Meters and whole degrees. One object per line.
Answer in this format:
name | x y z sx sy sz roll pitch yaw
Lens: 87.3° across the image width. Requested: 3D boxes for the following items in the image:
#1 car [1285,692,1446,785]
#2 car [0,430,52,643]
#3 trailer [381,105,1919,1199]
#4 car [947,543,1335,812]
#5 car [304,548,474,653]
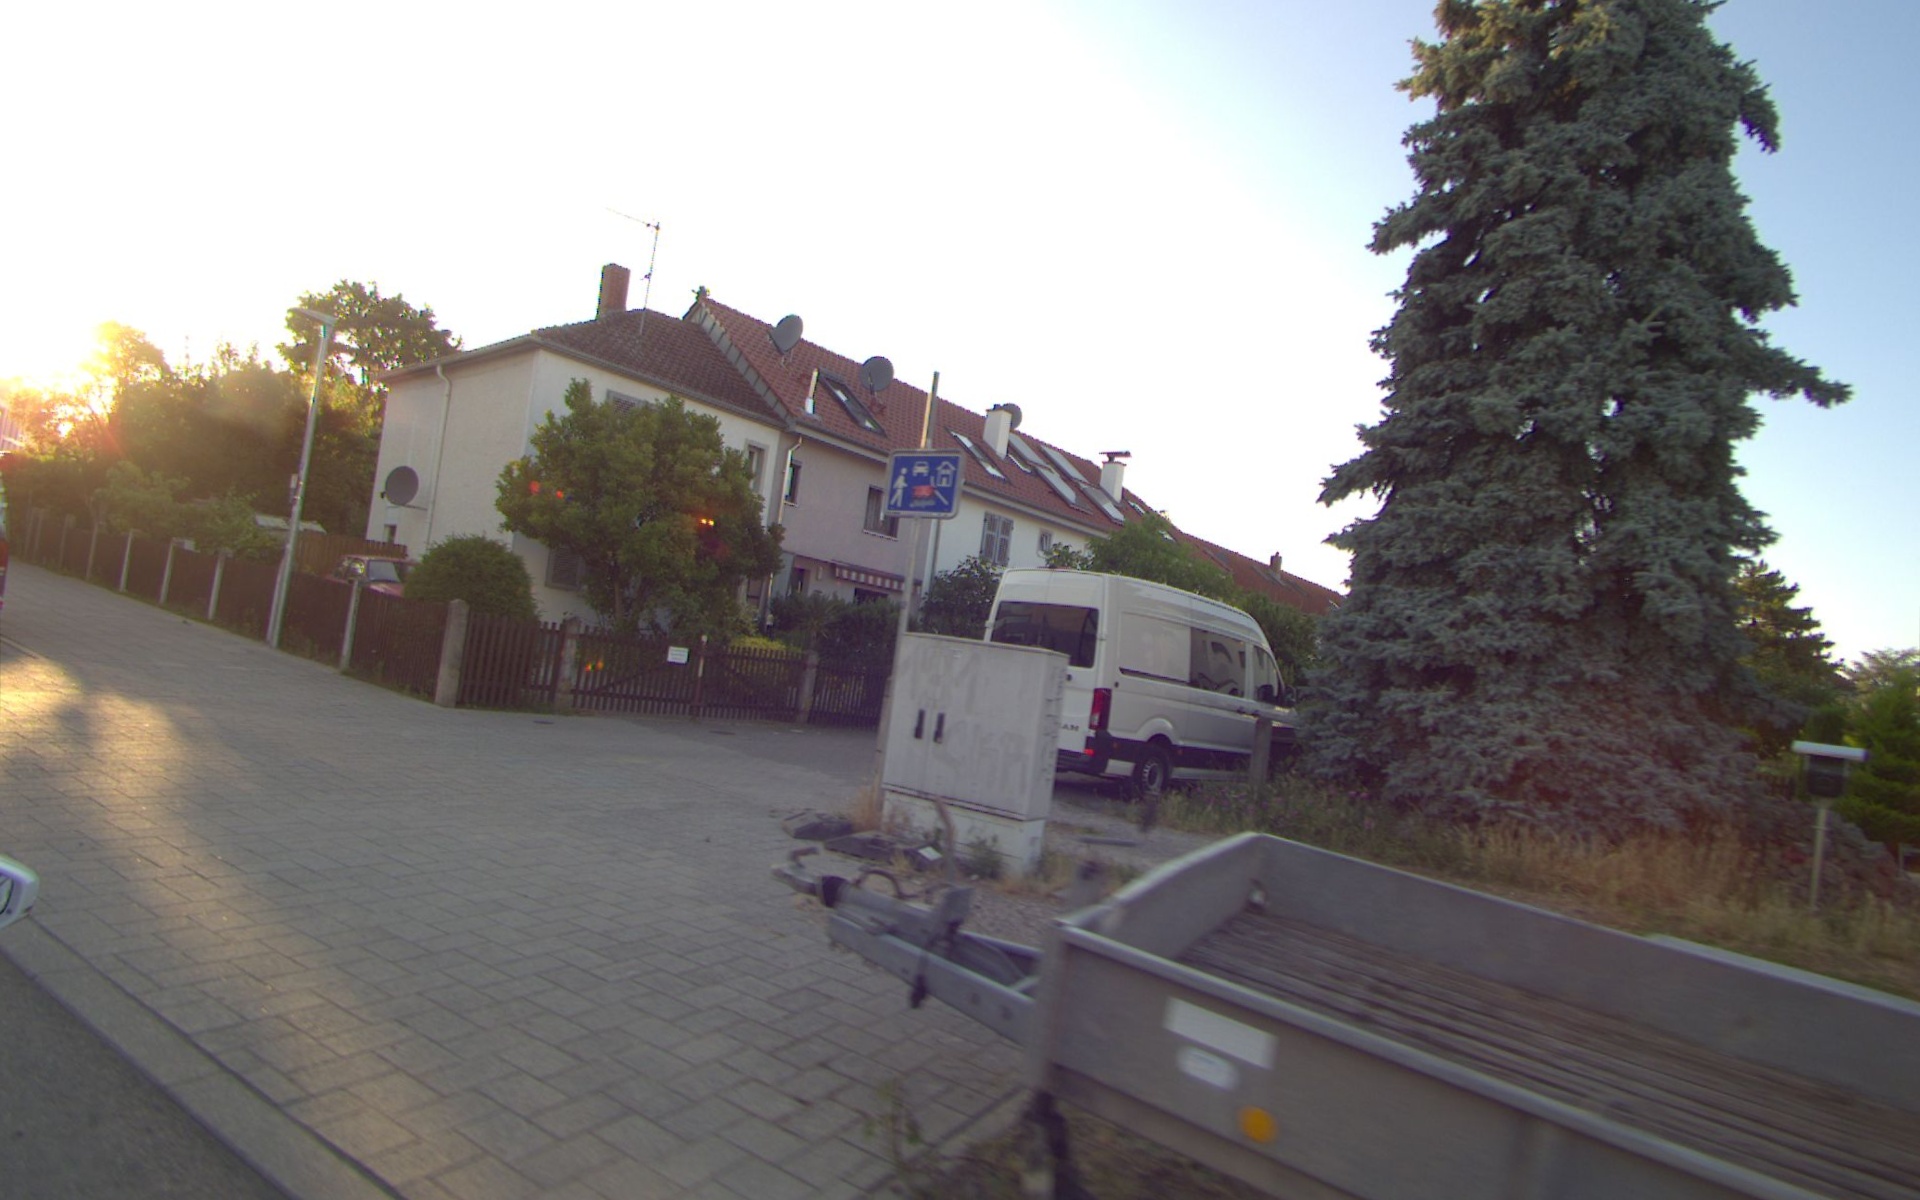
car | 8.247 2.825 20.253 1.718 1.492 4.123 4 -6 41
car | -12.011 -0.947 11.058 4.800 2.119 2.066 7 -2 38
trailer | 1.196 0.518 2.455 5.135 2.237 2.069 7 -2 31
car | 2.643 1.176 13.267 2.025 2.722 5.560 9 -2 43
car | -10.546 -0.030 18.480 3.590 1.460 1.527 6 -2 42
